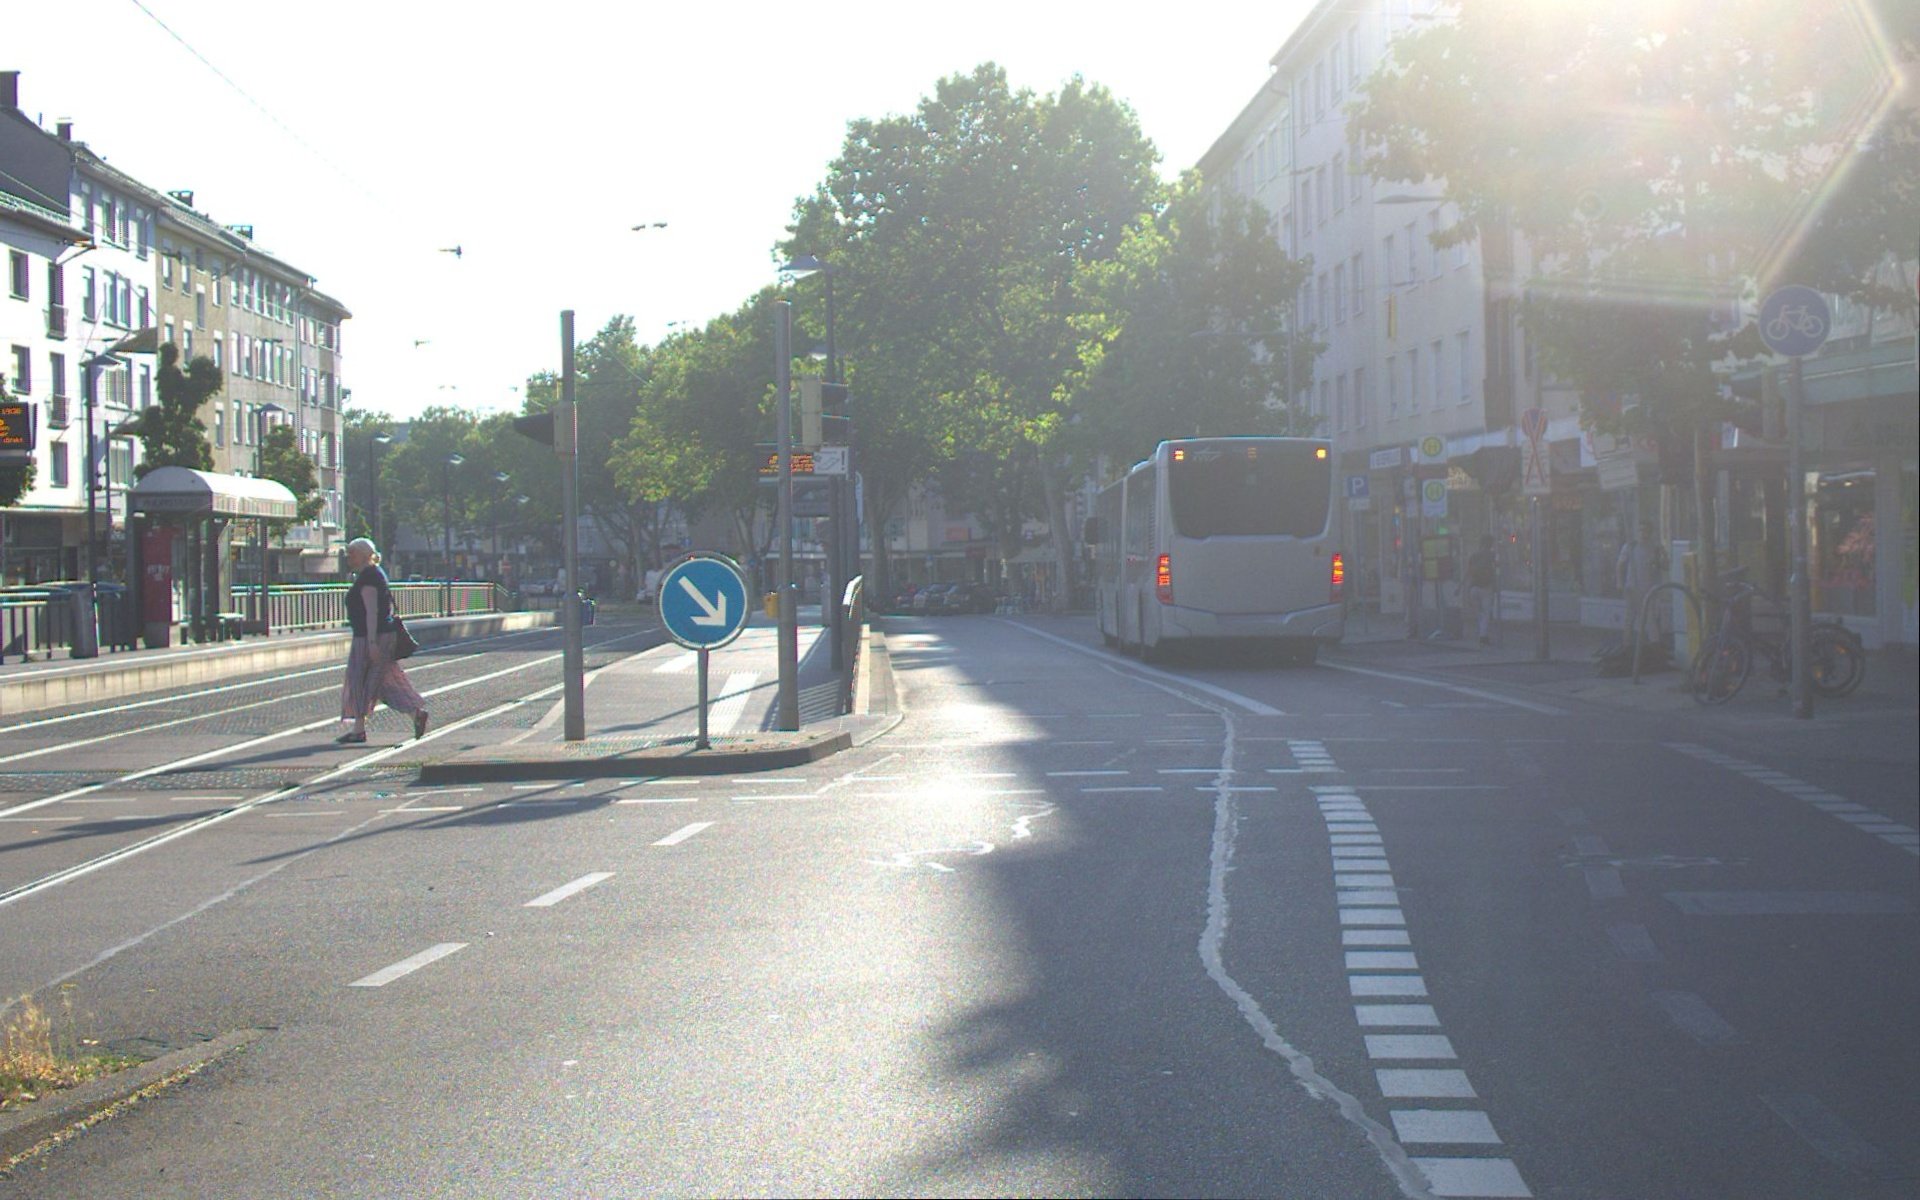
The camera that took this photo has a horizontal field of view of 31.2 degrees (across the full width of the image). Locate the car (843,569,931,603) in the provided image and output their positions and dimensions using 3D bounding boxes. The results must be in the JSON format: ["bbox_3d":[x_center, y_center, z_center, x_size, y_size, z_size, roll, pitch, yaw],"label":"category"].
[{"bbox_3d":[-3.551,-0.690,166.389,3.889,1.591,1.691,-2,1,-29],"label":"car"}]

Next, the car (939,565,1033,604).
[{"bbox_3d":[1.202,-0.711,158.721,3.889,1.693,1.833,-2,1,-29],"label":"car"}]

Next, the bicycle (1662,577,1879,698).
[{"bbox_3d":[7.375,0.337,31.336,1.772,1.018,0.694,-2,1,-1],"label":"bicycle"}]

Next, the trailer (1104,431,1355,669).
[{"bbox_3d":[3.762,-0.717,50.021,2.812,3.100,8.795,1,1,-1],"label":"trailer"}]

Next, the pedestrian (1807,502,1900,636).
[{"bbox_3d":[13.626,-0.473,52.430,0.988,2.007,0.929,-2,1,-38],"label":"pedestrian"}]

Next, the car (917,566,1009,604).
[{"bbox_3d":[0.163,-0.699,161.374,3.889,1.693,1.833,-2,1,-29],"label":"car"}]

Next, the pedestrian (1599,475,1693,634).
[{"bbox_3d":[8.798,-0.585,44.128,0.953,2.007,0.917,1,1,-2],"label":"pedestrian"}]

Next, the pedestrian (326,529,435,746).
[{"bbox_3d":[-4.900,0.307,29.091,0.680,1.764,0.687,-4,1,0],"label":"pedestrian"}]

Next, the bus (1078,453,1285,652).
[{"bbox_3d":[3.659,-0.815,58.934,2.812,3.091,9.095,1,1,-1],"label":"bus"}]

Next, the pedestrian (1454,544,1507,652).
[{"bbox_3d":[7.914,-0.031,52.308,0.676,1.622,0.655,1,1,0],"label":"pedestrian"}]
